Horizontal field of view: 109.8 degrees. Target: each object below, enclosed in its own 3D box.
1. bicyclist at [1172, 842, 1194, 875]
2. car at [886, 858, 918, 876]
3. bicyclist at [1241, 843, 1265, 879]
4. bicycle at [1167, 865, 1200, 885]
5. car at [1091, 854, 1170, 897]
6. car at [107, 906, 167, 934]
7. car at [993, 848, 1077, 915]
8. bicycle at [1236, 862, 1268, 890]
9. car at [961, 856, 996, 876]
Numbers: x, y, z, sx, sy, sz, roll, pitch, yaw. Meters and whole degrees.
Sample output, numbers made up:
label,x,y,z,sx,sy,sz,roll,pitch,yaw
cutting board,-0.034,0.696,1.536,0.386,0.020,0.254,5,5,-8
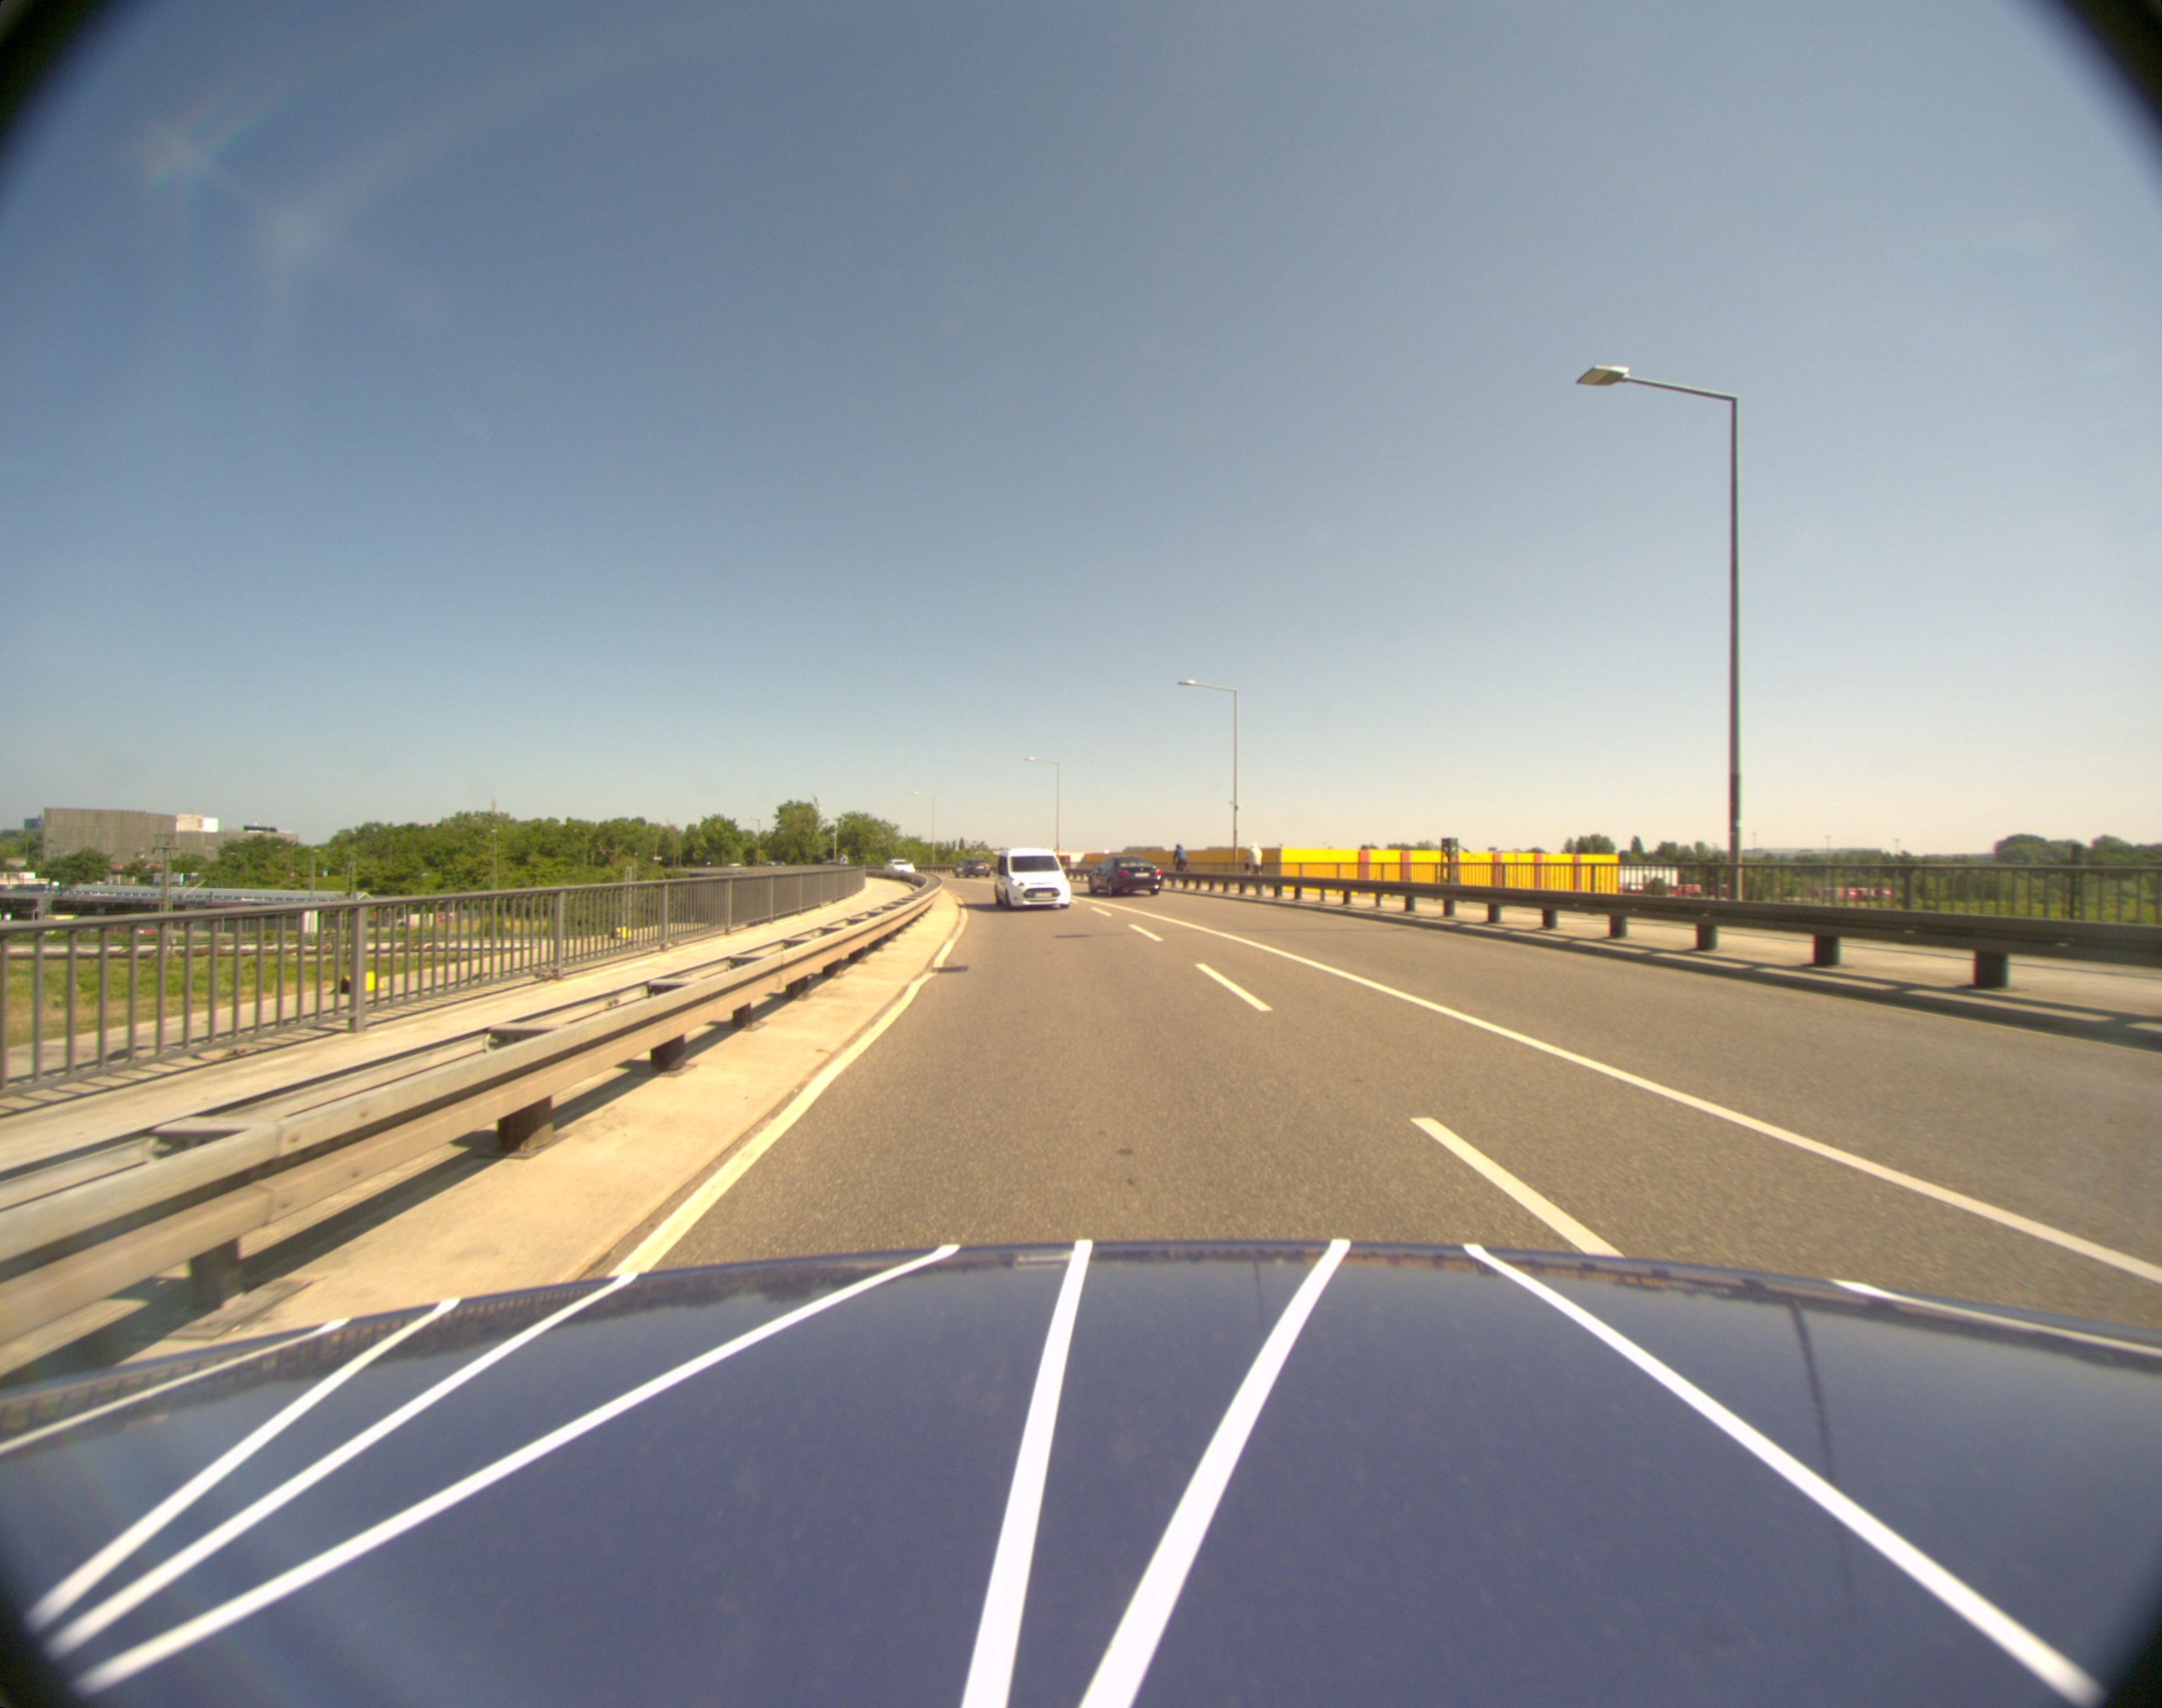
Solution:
label,x,y,z,sx,sy,sz,roll,pitch,yaw
bicyclist,4.685,0.228,34.872,0.662,1.487,1.015,-2,-1,-11
car,-15.423,1.091,65.307,1.849,1.479,4.143,-2,0,-25
bicyclist,6.496,0.260,28.716,0.490,1.321,0.945,-2,2,-11
bicycle,4.685,0.960,34.943,0.931,0.886,1.965,-1,0,-11
car,1.760,0.778,28.537,1.862,1.433,4.511,-2,0,-11
car,-108.815,7.563,87.592,5.367,2.650,2.309,1,6,17
car,-1.505,0.752,23.243,1.899,1.785,4.443,-2,0,-12
bicycle,6.478,0.816,28.813,0.576,1.040,1.708,1,-1,-10
car,-7.883,0.876,58.118,1.825,1.421,4.857,-1,0,-18
